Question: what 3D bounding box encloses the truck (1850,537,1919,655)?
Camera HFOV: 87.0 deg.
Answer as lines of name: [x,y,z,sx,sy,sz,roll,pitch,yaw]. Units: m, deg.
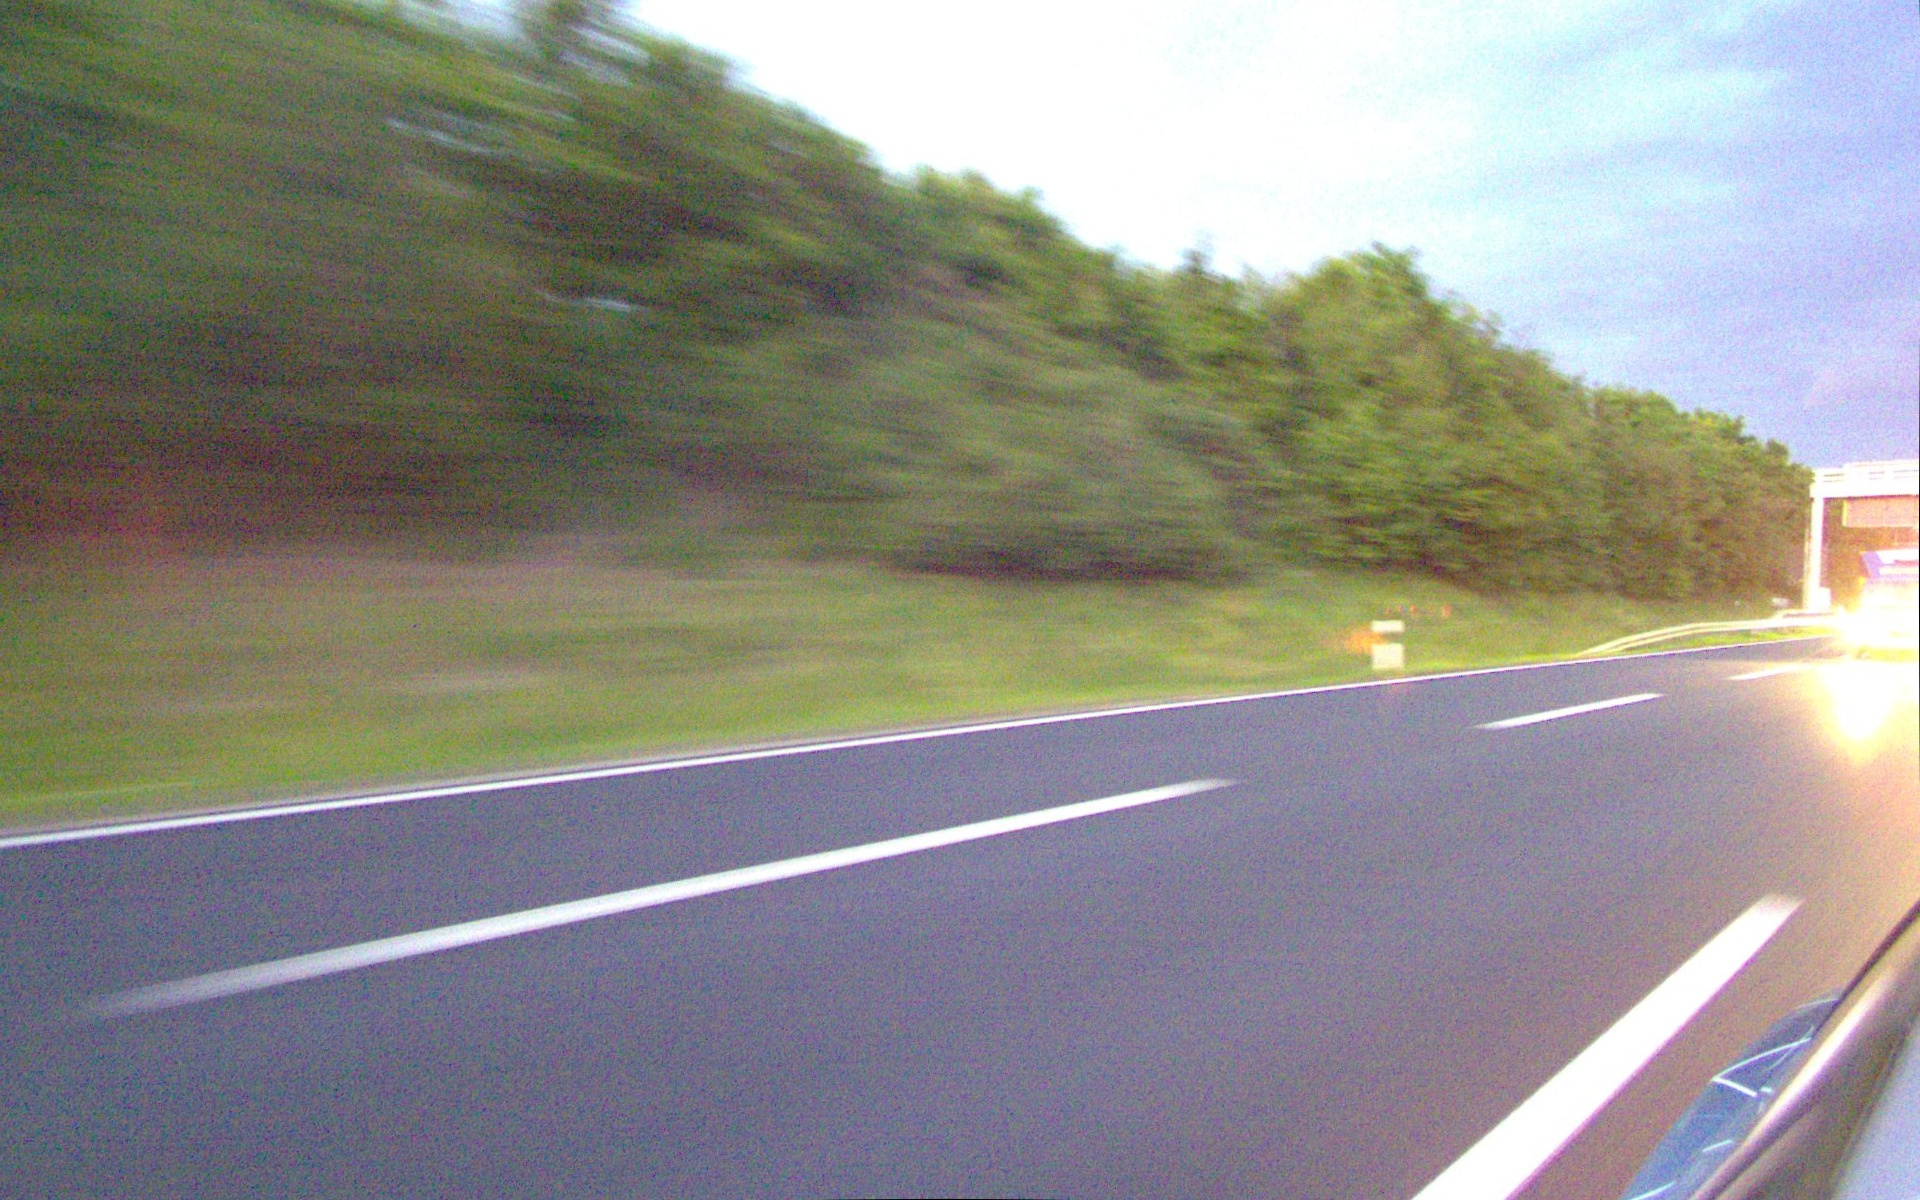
truck: [26.845,-0.101,28.196,6.516,3.009,2.272,0,0,-41]
